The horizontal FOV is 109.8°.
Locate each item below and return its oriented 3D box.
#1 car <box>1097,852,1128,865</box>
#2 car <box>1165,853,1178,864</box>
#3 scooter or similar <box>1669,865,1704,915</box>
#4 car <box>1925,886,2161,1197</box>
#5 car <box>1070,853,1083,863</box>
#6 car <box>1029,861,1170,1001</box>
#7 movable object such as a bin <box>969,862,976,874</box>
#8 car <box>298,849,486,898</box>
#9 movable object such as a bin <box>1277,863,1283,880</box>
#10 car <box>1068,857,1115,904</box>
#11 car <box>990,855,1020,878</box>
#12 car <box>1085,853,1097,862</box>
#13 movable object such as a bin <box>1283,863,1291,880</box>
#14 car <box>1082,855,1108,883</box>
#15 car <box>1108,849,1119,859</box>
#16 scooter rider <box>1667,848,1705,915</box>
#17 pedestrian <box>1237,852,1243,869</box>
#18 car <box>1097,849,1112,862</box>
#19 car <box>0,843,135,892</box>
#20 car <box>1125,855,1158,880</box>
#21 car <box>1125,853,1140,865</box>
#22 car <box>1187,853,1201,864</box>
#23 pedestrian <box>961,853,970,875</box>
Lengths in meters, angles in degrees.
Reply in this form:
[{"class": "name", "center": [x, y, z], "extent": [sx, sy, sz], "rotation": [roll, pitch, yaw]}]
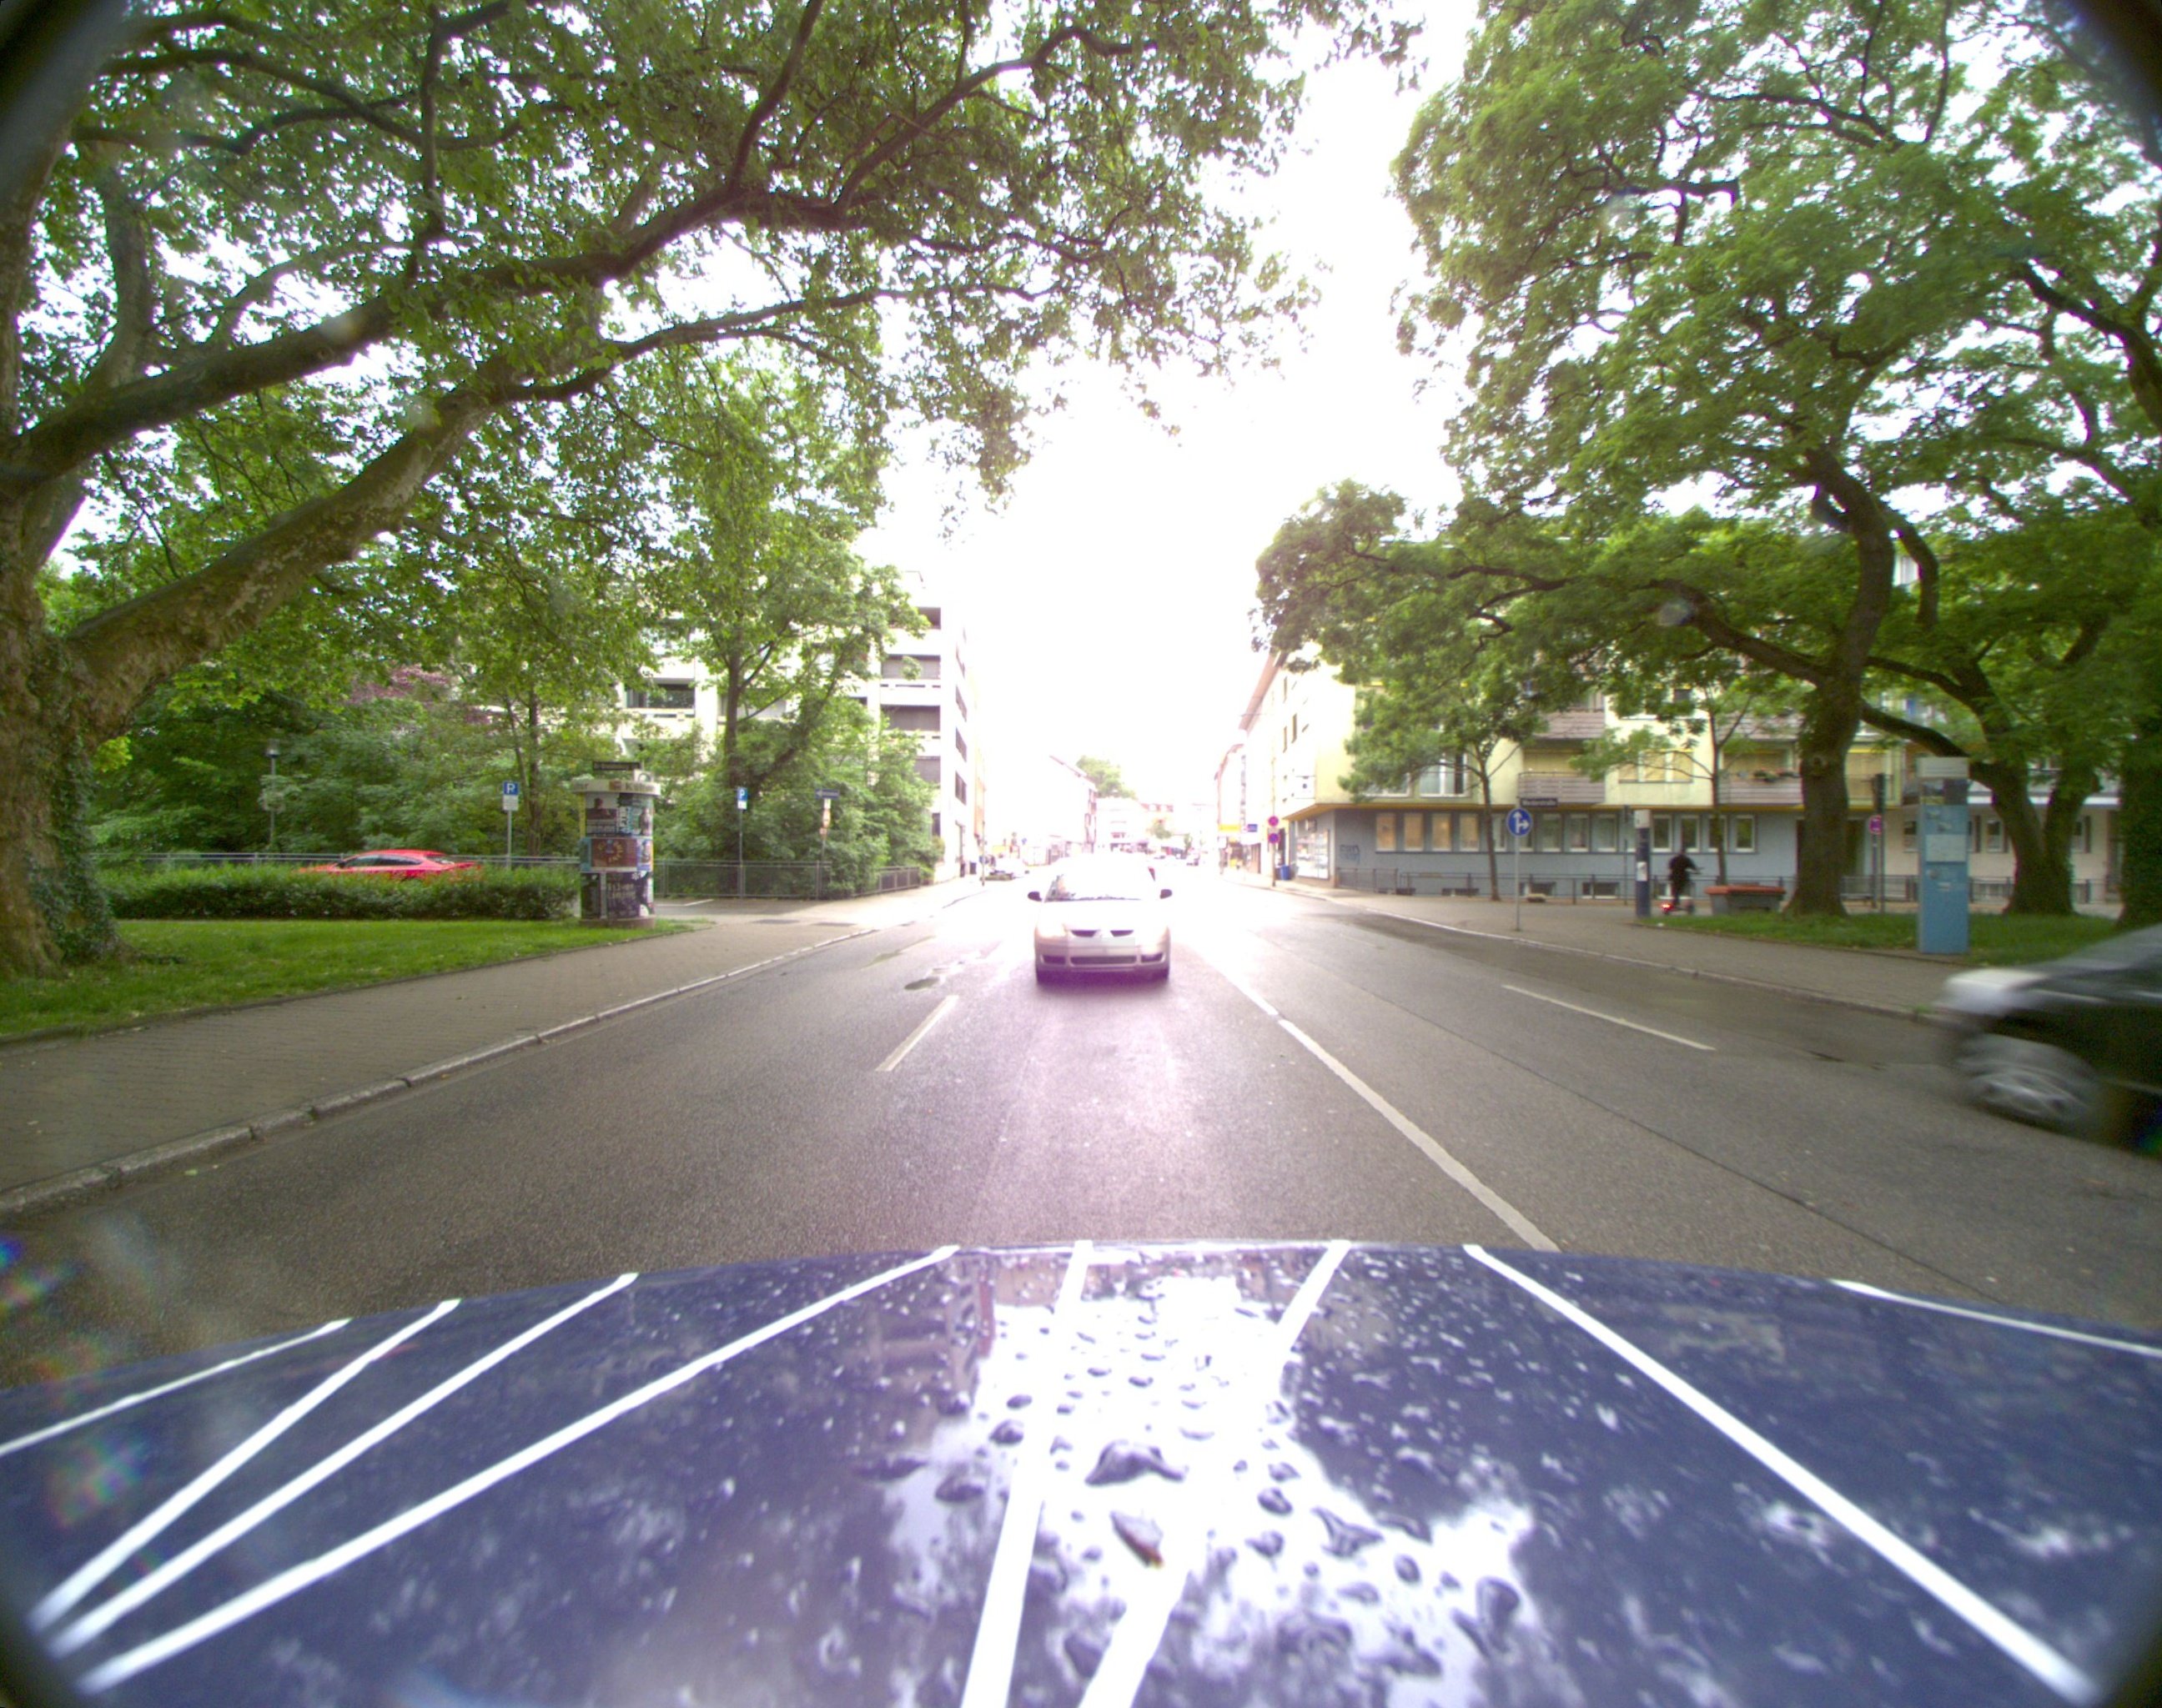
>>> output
[{"class": "car", "center": [3.945, 0.538, 95.601], "extent": [3.599, 1.528, 1.606], "rotation": [-2, 1, -8]}, {"class": "car", "center": [14.075, 0.638, 117.912], "extent": [1.867, 1.648, 4.001], "rotation": [1, 0, 4]}, {"class": "scooter or similar", "center": [16.781, 0.988, 21.073], "extent": [0.676, 1.373, 0.669], "rotation": [-1, -1, 32]}, {"class": "car", "center": [6.110, 0.970, 2.997], "extent": [1.571, 1.479, 3.567], "rotation": [1, 0, 1]}, {"class": "car", "center": [-0.679, 0.525, 113.556], "extent": [1.802, 1.433, 3.896], "rotation": [1, 0, 0]}, {"class": "car", "center": [0.239, 0.895, 10.283], "extent": [1.576, 1.514, 3.241], "rotation": [-1, 0, 1]}, {"class": "movable object such as a bin", "center": [-8.995, 1.171, 62.926], "extent": [0.556, 1.035, 0.292], "rotation": [1, 1, 0]}, {"class": "car", "center": [-19.425, 0.521, 21.551], "extent": [3.790, 1.271, 1.576], "rotation": [1, 1, -3]}, {"class": "movable object such as a bin", "center": [12.673, 1.119, 48.382], "extent": [0.338, 1.023, 0.353], "rotation": [1, 1, 8]}, {"class": "car", "center": [0.436, 0.919, 27.659], "extent": [1.590, 1.540, 3.771], "rotation": [1, 0, 2]}, {"class": "car", "center": [-5.315, 0.865, 53.500], "extent": [1.681, 1.424, 3.681], "rotation": [3, 0, 1]}, {"class": "car", "center": [1.571, 0.573, 120.009], "extent": [1.802, 1.433, 3.897], "rotation": [1, 0, 1]}, {"class": "movable object such as a bin", "center": [13.081, 1.107, 48.260], "extent": [0.415, 1.023, 0.353], "rotation": [1, 1, 8]}, {"class": "car", "center": [0.865, 0.921, 48.087], "extent": [1.584, 1.705, 3.649], "rotation": [1, 0, 0]}, {"class": "car", "center": [5.818, 0.048, 134.861], "extent": [1.889, 1.620, 4.000], "rotation": [-2, 1, 3]}, {"class": "scooter rider", "center": [16.765, 0.752, 21.073], "extent": [0.711, 1.806, 0.699], "rotation": [-1, -1, 33]}, {"class": "pedestrian", "center": [17.382, 0.689, 83.249], "extent": [0.594, 1.833, 0.565], "rotation": [1, 1, 8]}, {"class": "car", "center": [3.486, 0.183, 112.539], "extent": [1.935, 1.817, 3.999], "rotation": [-2, 1, 0]}, {"class": "car", "center": [-29.145, 0.356, 21.206], "extent": [3.468, 1.271, 1.448], "rotation": [1, 1, -5]}, {"class": "car", "center": [3.648, 0.810, 46.163], "extent": [1.701, 1.433, 3.897], "rotation": [1, 0, 1]}, {"class": "car", "center": [7.149, 0.698, 105.237], "extent": [1.998, 1.631, 4.001], "rotation": [1, 0, 4]}, {"class": "car", "center": [17.999, 0.689, 121.203], "extent": [1.889, 1.707, 4.001], "rotation": [1, 0, 4]}, {"class": "pedestrian", "center": [-8.007, 0.682, 52.706], "extent": [0.480, 1.521, 0.481], "rotation": [-2, 1, 1]}]
